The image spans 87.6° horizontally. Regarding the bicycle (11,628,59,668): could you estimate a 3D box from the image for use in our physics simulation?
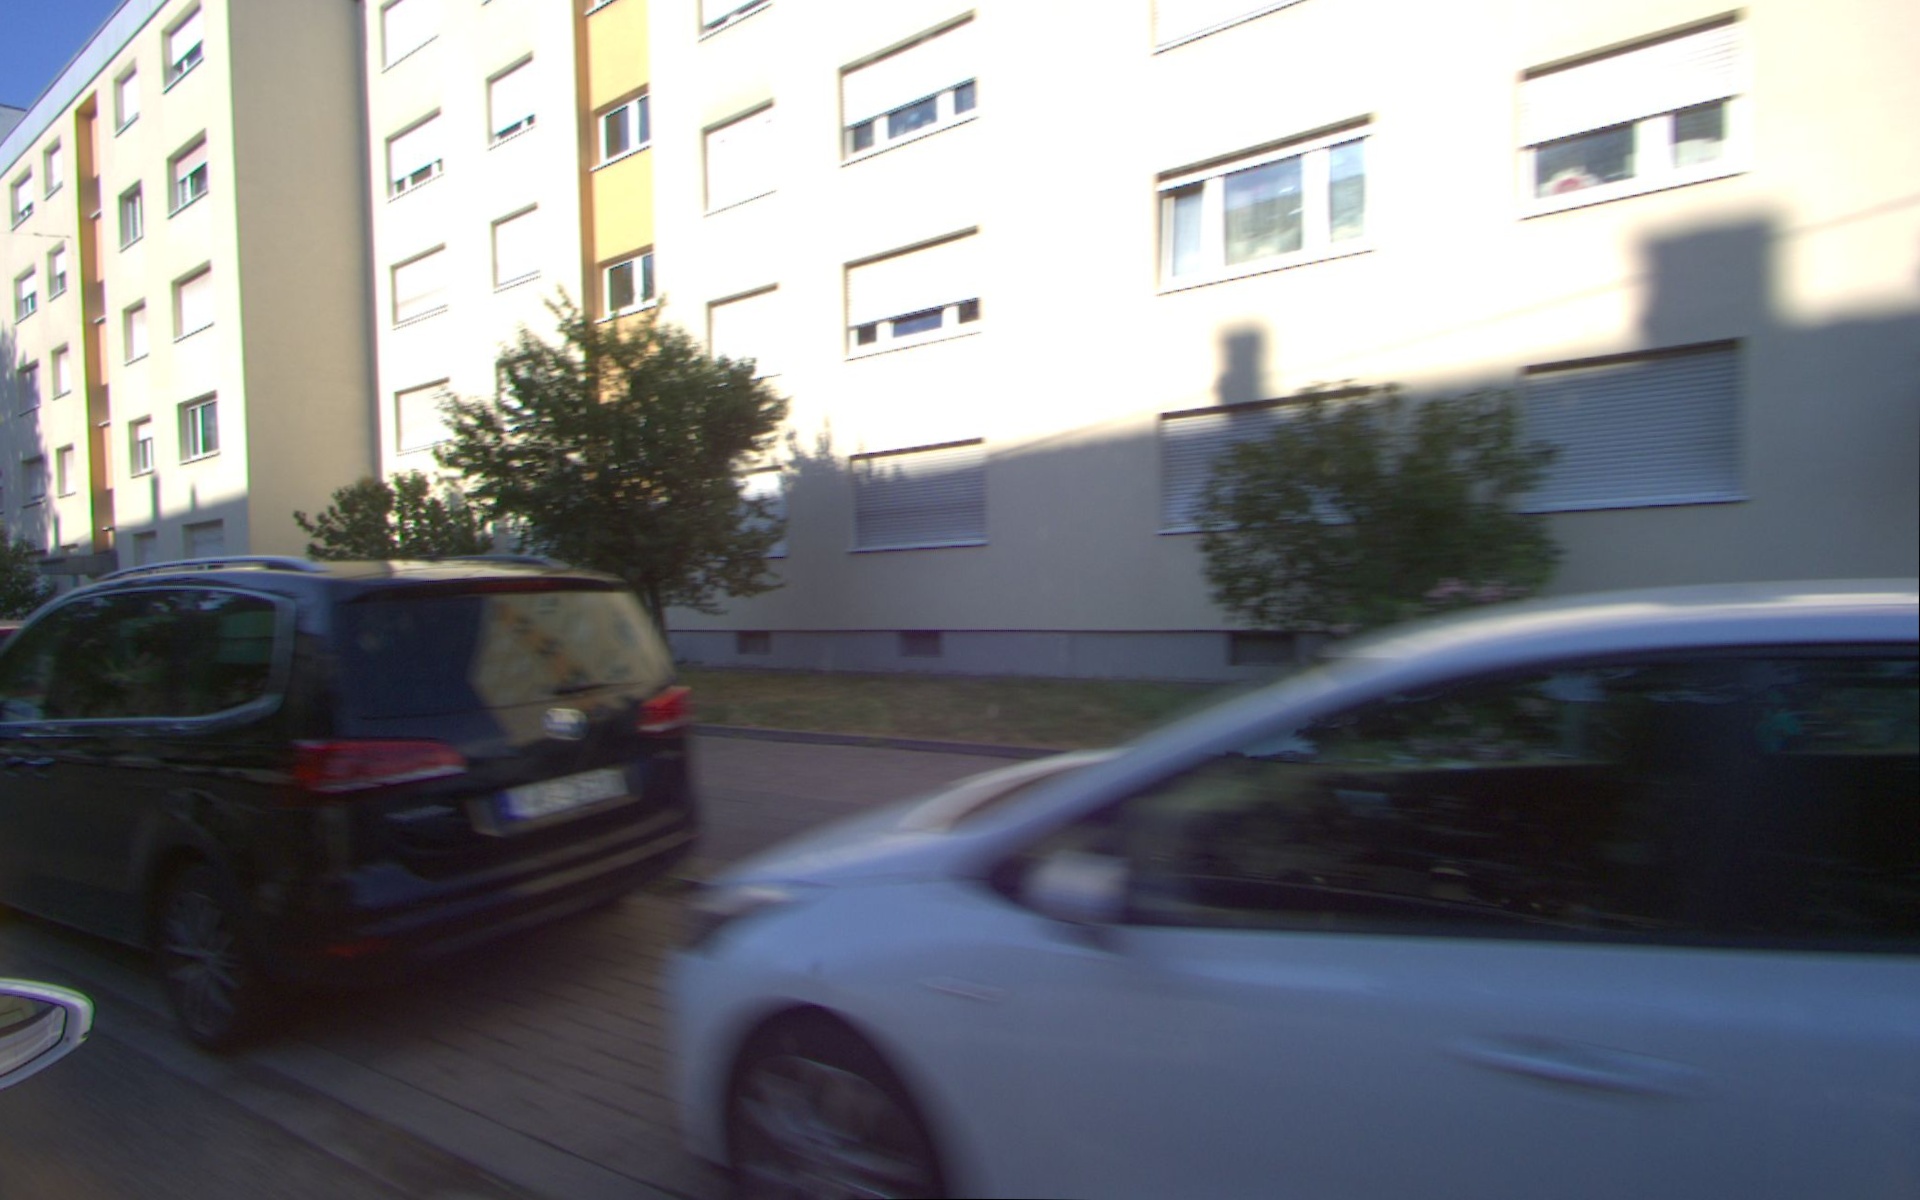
[{"bbox_3d":[-27.346,1.407,29.585,2.363,1.129,0.491,-1,5,36],"label":"bicycle"}]

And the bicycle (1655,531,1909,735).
[{"bbox_3d":[5.198,0.193,6.414,1.224,1.208,0.332,0,3,36],"label":"bicycle"}]

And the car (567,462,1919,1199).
[{"bbox_3d":[1.172,0.583,2.228,3.943,1.528,1.767,-2,2,32],"label":"car"}]

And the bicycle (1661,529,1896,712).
[{"bbox_3d":[5.738,0.160,7.091,1.223,1.207,0.333,-2,-3,32],"label":"bicycle"}]

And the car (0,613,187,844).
[{"bbox_3d":[-8.343,0.969,8.351,3.943,1.637,1.768,-2,-2,32],"label":"car"}]

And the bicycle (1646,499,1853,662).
[{"bbox_3d":[6.144,-0.126,7.857,1.223,1.207,0.332,-2,-1,32],"label":"bicycle"}]

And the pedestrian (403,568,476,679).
[{"bbox_3d":[-8.204,0.355,15.787,0.529,1.681,0.764,-1,3,32],"label":"pedestrian"}]

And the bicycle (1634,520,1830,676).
[{"bbox_3d":[6.290,0.002,8.219,1.223,1.207,0.332,-2,-1,32],"label":"bicycle"}]

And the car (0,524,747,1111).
[{"bbox_3d":[-3.358,0.680,4.868,4.580,1.700,1.767,-2,0,32],"label":"car"}]

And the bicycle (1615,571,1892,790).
[{"bbox_3d":[4.653,0.462,5.948,1.221,1.207,0.333,-1,-1,26],"label":"bicycle"}]
